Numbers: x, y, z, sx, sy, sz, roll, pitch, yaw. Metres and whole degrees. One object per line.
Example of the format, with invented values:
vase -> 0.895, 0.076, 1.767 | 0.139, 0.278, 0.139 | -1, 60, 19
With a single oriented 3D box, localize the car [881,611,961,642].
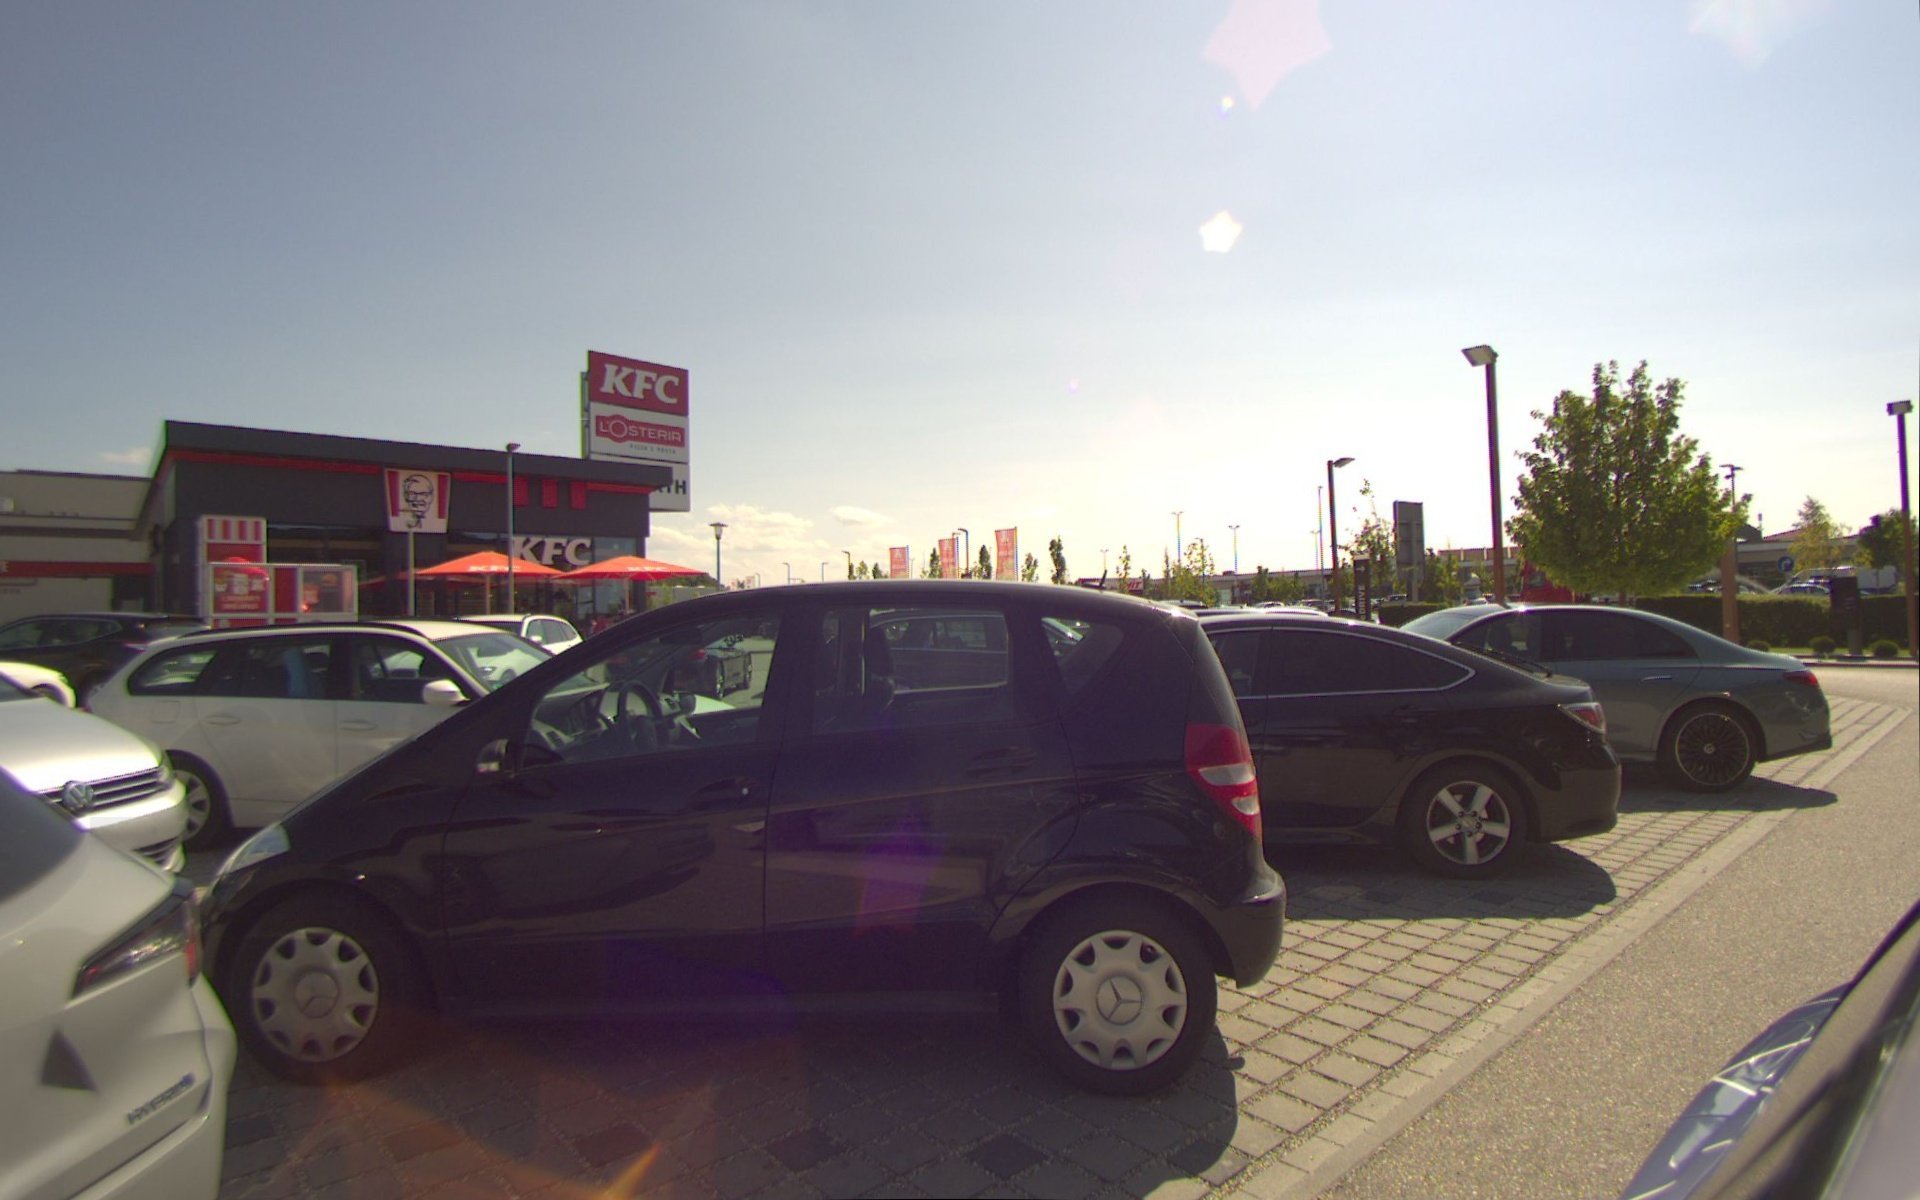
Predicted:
car -> -1.965, 1.320, 51.355 | 3.683, 1.472, 1.687 | -1, -1, -34

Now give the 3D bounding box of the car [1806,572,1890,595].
car -> 57.645, -1.044, 65.740 | 1.637, 1.359, 3.899 | 0, -1, -42

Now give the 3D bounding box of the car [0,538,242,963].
car -> -5.724, 0.619, 4.474 | 3.995, 1.661, 1.745 | -1, -1, 5

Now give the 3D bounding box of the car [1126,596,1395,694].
car -> 4.682, 0.706, 16.253 | 3.835, 1.444, 1.703 | -1, -1, 6

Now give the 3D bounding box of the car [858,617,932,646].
car -> -3.538, 1.717, 55.379 | 3.683, 1.472, 1.687 | -1, -1, -34

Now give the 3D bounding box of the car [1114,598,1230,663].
car -> 5.544, 0.784, 27.030 | 1.770, 1.576, 4.059 | -1, -1, -7

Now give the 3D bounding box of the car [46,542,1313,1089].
car -> -0.902, 0.688, 4.008 | 3.927, 1.614, 1.810 | -1, -1, 3

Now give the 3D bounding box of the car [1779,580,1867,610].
car -> 53.529, -0.276, 62.796 | 3.987, 1.750, 1.864 | -2, -1, 45

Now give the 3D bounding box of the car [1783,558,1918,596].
car -> 59.635, -1.482, 67.898 | 2.261, 2.273, 6.557 | 0, -1, -42

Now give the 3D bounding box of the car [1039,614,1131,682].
car -> 2.912, 1.085, 24.423 | 1.680, 1.429, 4.680 | -1, -1, 1

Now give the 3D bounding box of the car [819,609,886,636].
car -> -6.437, 1.318, 60.691 | 3.683, 1.531, 1.687 | -1, -1, -34

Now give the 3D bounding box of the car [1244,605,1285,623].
car -> 27.782, 1.264, 92.377 | 3.153, 1.576, 1.543 | -1, -1, -15

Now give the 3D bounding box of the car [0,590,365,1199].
car -> -3.636, 0.738, 1.508 | 4.582, 1.465, 1.832 | -1, -1, 7

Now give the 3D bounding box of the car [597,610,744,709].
car -> -4.743, 0.916, 17.126 | 1.784, 1.421, 4.004 | -1, -1, -7

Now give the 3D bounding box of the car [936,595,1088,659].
car -> 1.604, 0.766, 30.267 | 4.291, 1.772, 2.069 | -1, -1, -41

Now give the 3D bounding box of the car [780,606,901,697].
car -> -2.392, 0.919, 19.428 | 1.783, 1.508, 4.007 | -1, -1, -14

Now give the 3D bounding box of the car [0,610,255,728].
car -> -12.992, 0.993, 14.987 | 4.013, 1.596, 1.755 | -1, -1, 5

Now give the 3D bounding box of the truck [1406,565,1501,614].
truck -> 36.541, -0.744, 75.273 | 2.373, 3.394, 7.576 | -1, 0, -9

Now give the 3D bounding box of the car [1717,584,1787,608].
car -> 61.393, -0.315, 78.472 | 4.169, 1.750, 1.897 | -1, -1, -10

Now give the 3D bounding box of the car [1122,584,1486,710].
car -> 4.538, 0.627, 13.972 | 4.338, 1.530, 1.981 | -1, -1, 4

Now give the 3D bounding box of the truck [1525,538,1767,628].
truck -> 32.690, -0.657, 48.651 | 3.155, 3.916, 9.112 | 0, -1, -41

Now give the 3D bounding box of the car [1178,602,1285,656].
car -> 7.928, 0.826, 29.911 | 1.762, 1.440, 4.089 | -1, -1, -4

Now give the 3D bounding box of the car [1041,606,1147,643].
car -> 5.530, 0.995, 41.663 | 4.075, 1.416, 1.888 | -1, -1, -34

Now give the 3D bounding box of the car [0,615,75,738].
car -> -12.152, 0.901, 10.816 | 1.809, 1.444, 4.186 | -1, -1, -1

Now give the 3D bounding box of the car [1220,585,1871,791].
car -> 4.732, 0.711, 8.817 | 4.461, 1.530, 1.885 | -1, -1, 4

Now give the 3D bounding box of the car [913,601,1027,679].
car -> 0.113, 0.848, 22.668 | 1.742, 1.531, 4.358 | -1, -1, -10

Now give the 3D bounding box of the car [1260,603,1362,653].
car -> 10.891, 0.844, 31.664 | 1.878, 1.440, 3.773 | -1, -1, 1

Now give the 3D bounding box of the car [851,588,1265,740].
car -> 1.064, 0.702, 11.708 | 4.338, 1.530, 1.981 | -1, -1, 4

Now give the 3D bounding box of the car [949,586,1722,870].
car -> 2.001, 0.714, 6.335 | 4.002, 1.467, 1.826 | -1, -1, 4

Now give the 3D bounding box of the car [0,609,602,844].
car -> -4.854, 0.801, 7.172 | 4.008, 1.426, 1.791 | -1, -1, 4

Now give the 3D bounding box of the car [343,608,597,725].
car -> -7.273, 0.908, 15.595 | 1.877, 1.490, 4.473 | -1, -1, -2
